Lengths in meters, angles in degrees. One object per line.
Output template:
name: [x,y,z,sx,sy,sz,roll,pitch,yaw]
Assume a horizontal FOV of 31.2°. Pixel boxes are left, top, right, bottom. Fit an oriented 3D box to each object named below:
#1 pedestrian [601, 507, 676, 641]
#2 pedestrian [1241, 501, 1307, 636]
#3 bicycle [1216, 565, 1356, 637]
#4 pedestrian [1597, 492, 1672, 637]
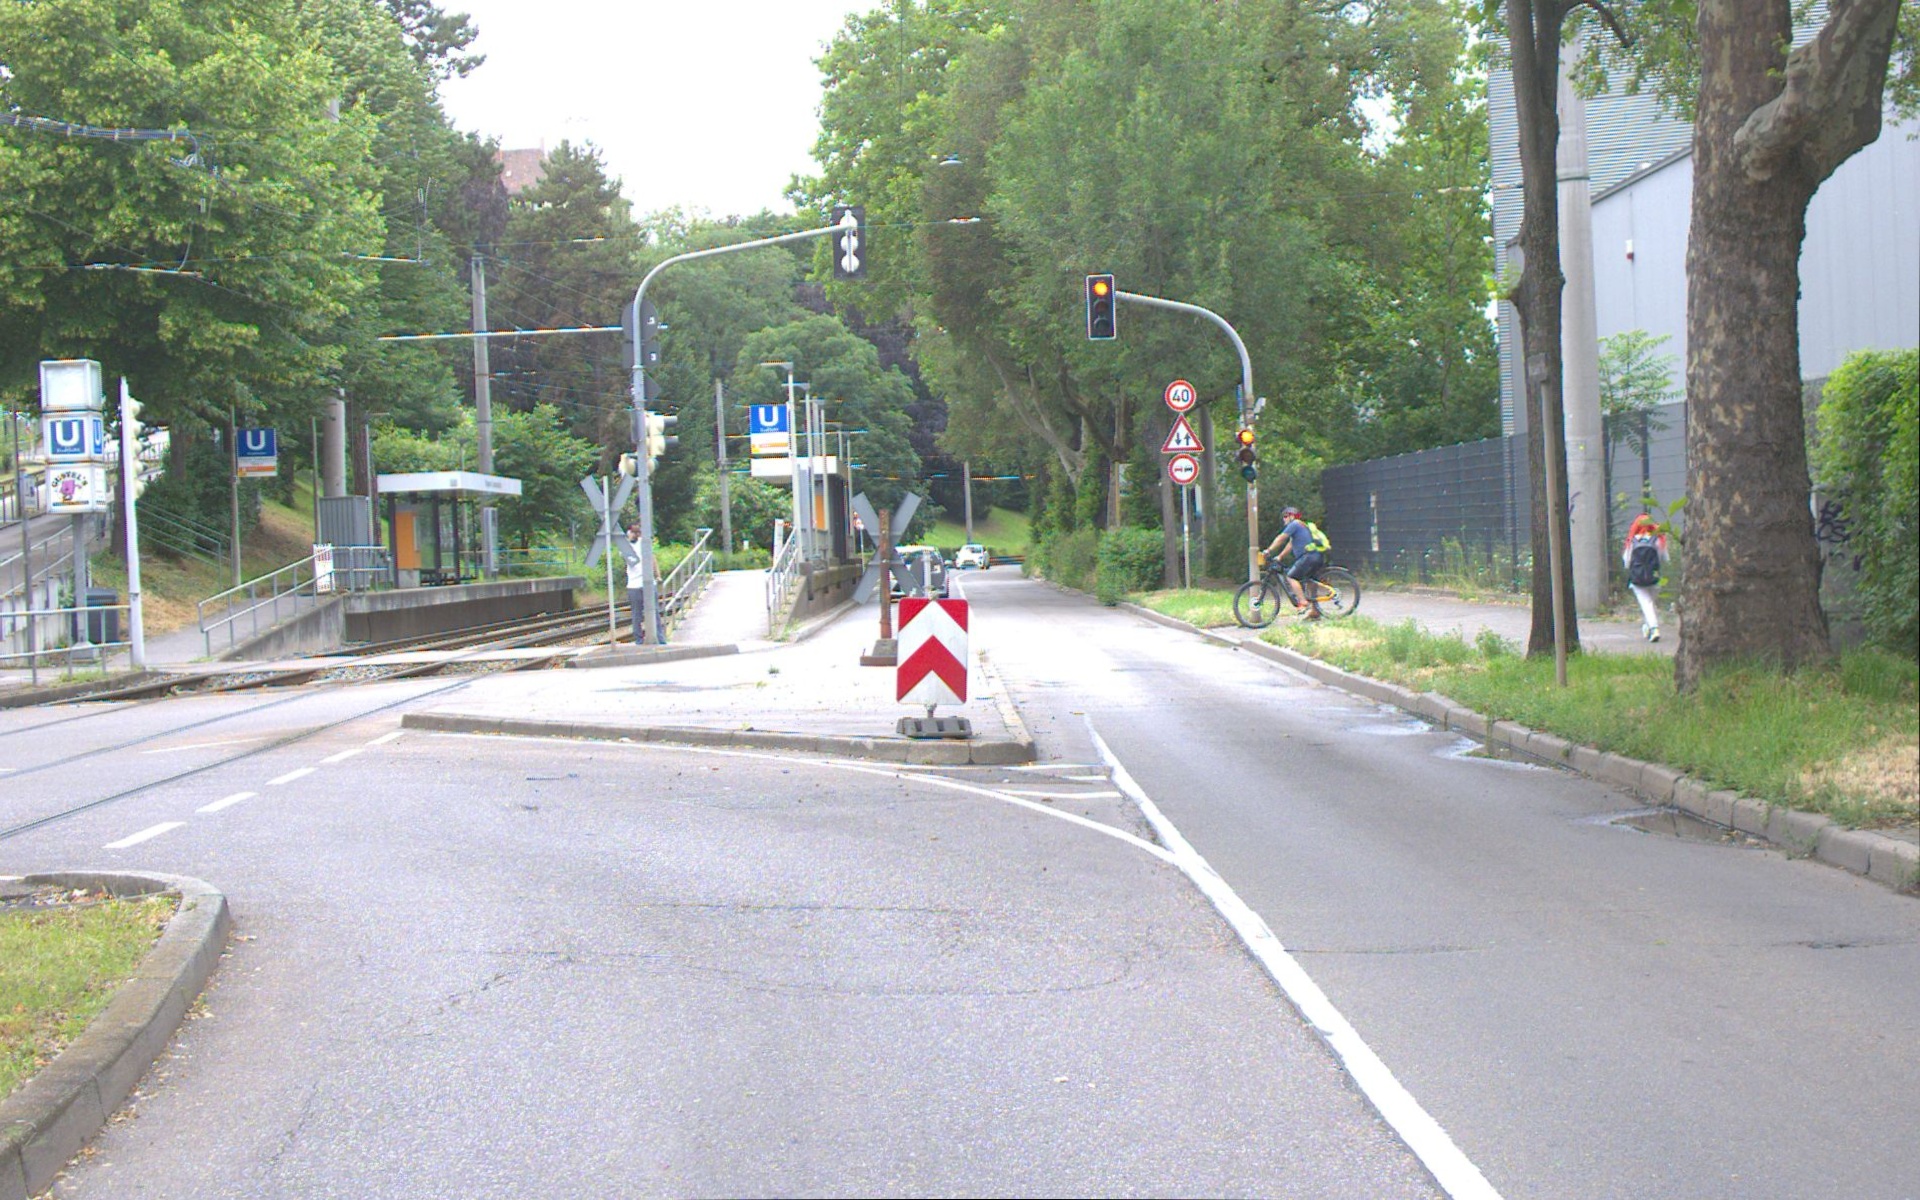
pedestrian: [-4.531,-0.368,48.481,0.907,1.846,0.771,-2,1,0]
pedestrian: [4.782,-0.477,52.340,0.931,2.007,0.668,-2,1,5]
bicycle: [4.957,0.020,52.271,2.075,1.003,0.668,-2,1,6]
pedestrian: [7.365,-0.391,37.554,0.666,1.548,0.934,-2,1,5]
